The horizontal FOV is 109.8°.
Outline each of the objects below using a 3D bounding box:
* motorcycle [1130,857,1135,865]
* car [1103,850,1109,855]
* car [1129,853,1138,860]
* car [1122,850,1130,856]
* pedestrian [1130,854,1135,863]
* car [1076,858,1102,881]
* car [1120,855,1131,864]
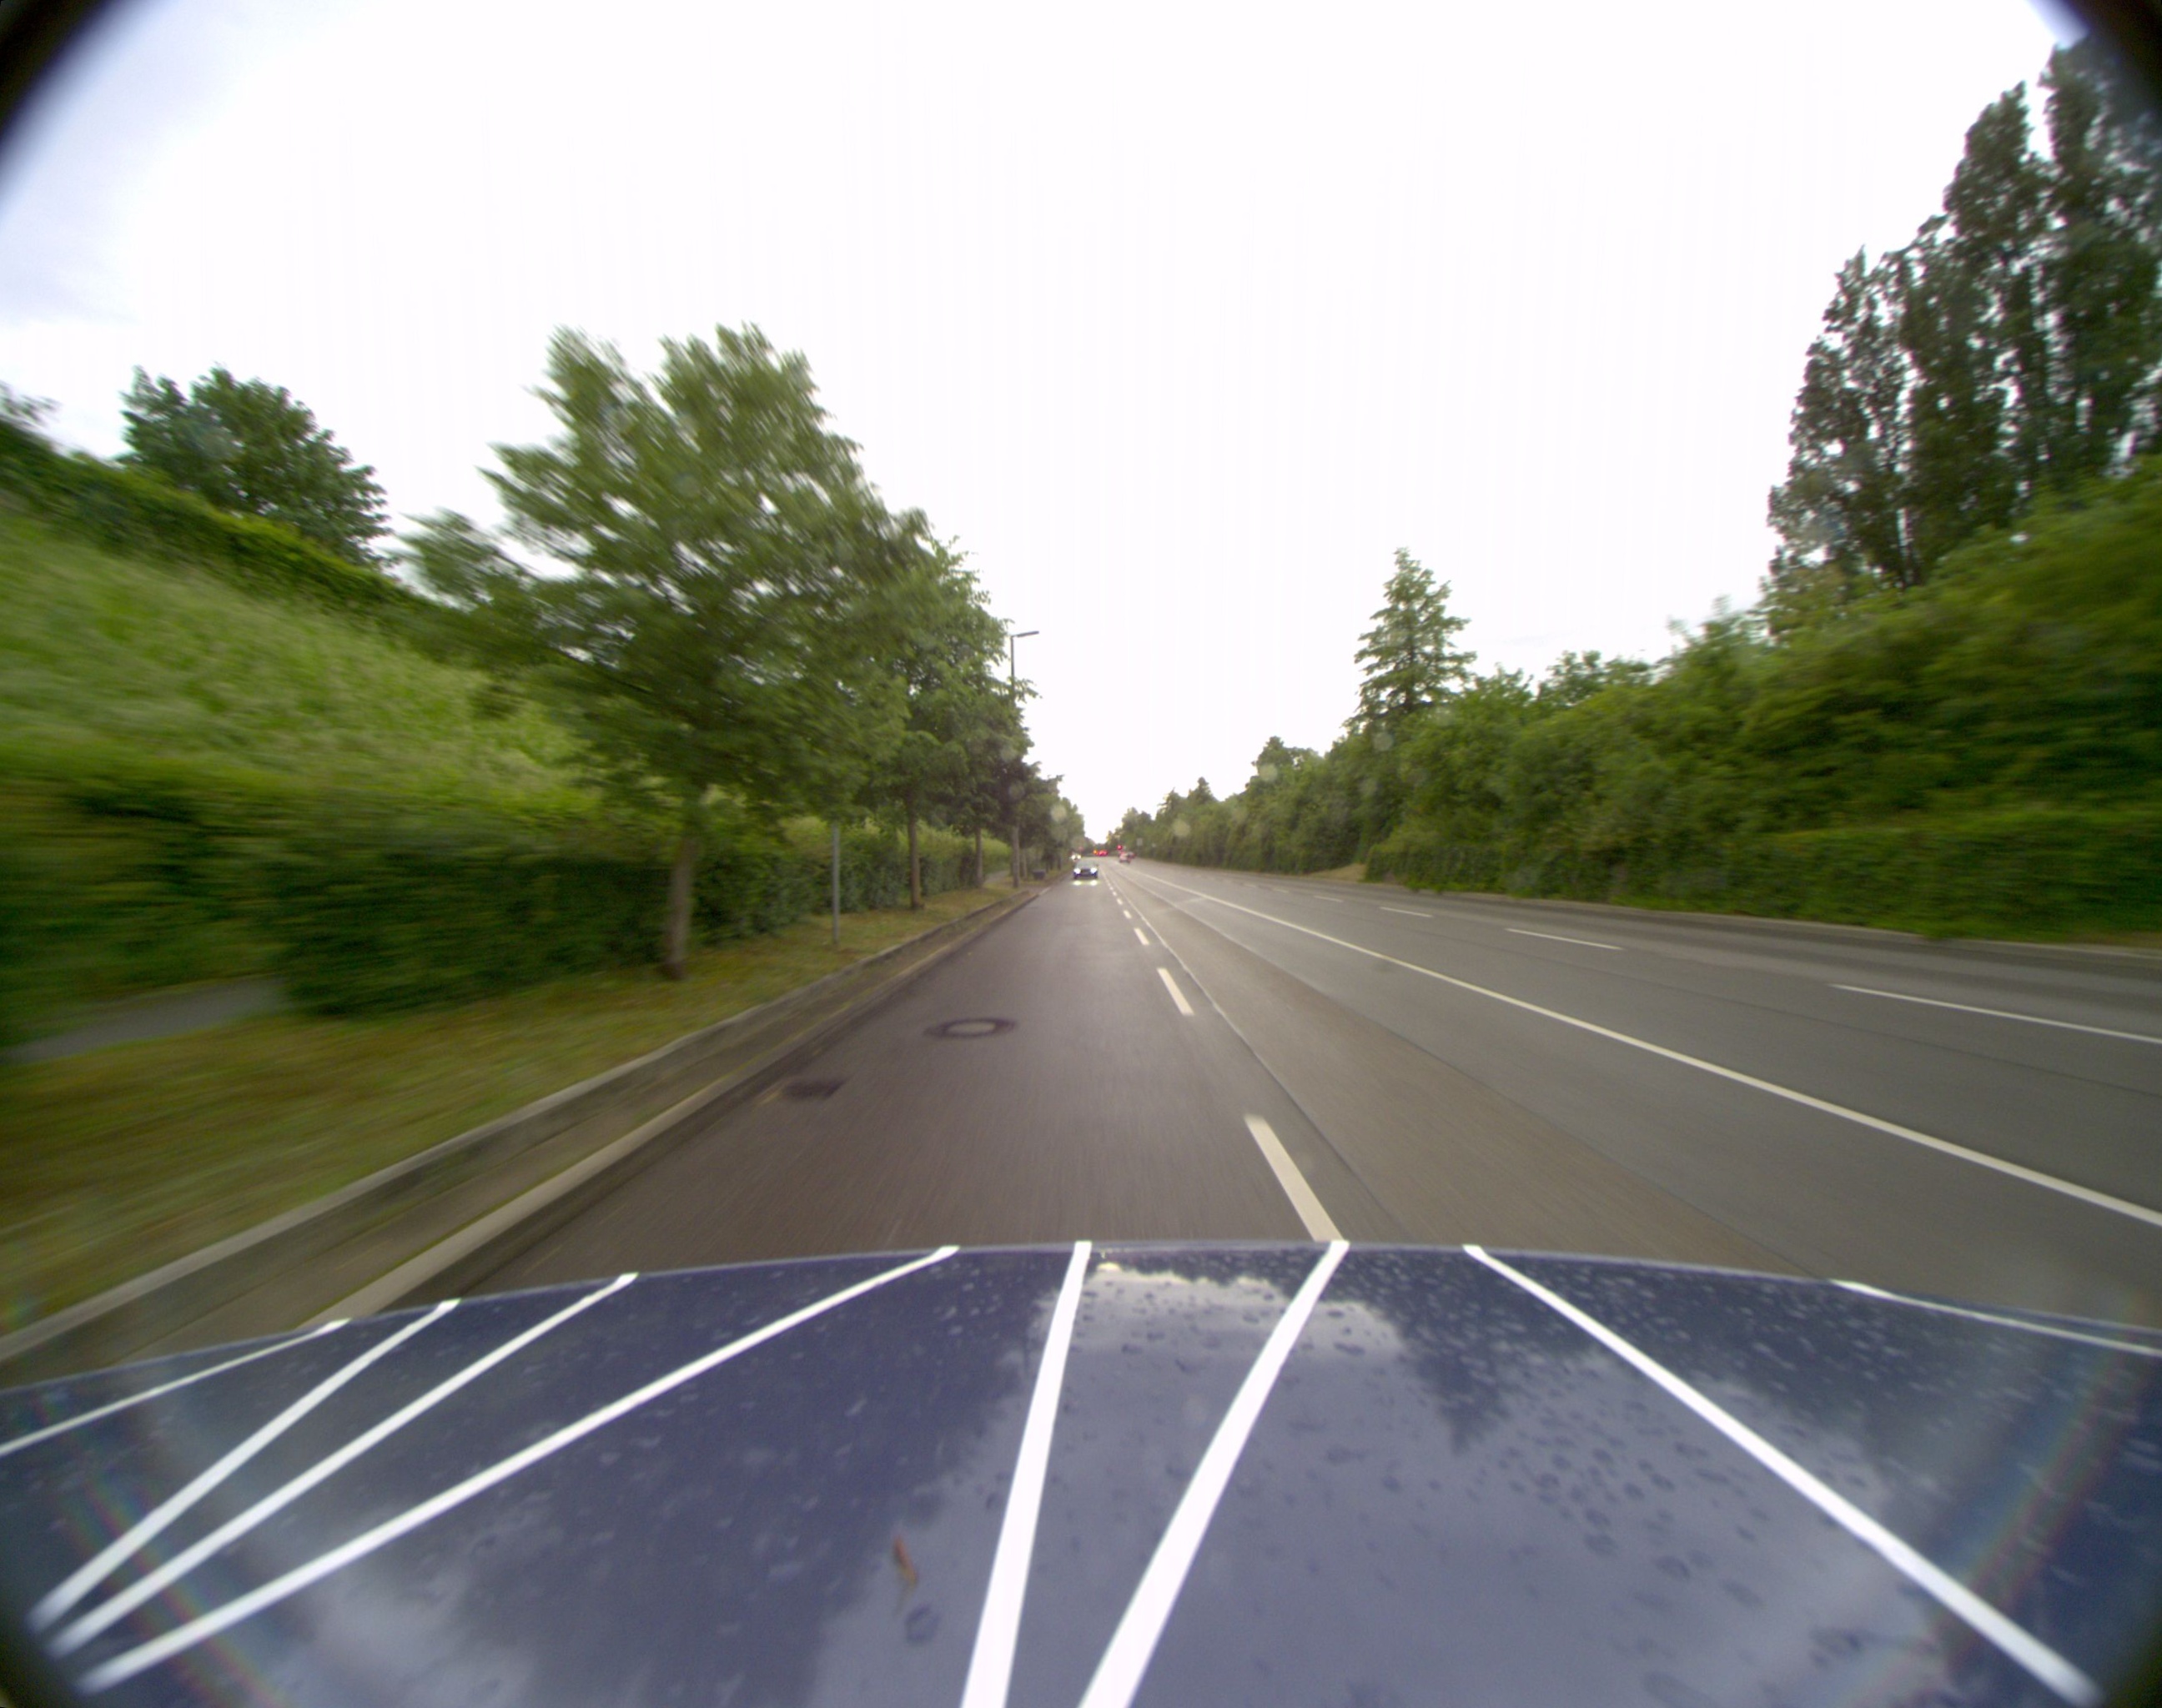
[{"bbox_3d":[8.406,1.140,124.170,0.807,1.124,2.231,-2,0,1],"label":"motorcycle"},{"bbox_3d":[7.655,-0.440,232.327,1.817,1.648,4.595,-2,0,1],"label":"car"},{"bbox_3d":[11.971,0.565,172.573,1.764,1.373,4.838,-2,0,1],"label":"car"},{"bbox_3d":[11.768,-0.324,198.083,1.903,1.544,4.630,-2,0,1],"label":"car"},{"bbox_3d":[8.395,0.761,124.146,0.807,1.532,1.111,-2,1,1],"label":"pedestrian"},{"bbox_3d":[0.564,1.155,57.532,1.738,1.577,4.285,-1,0,-2],"label":"car"},{"bbox_3d":[8.079,1.009,138.488,1.719,1.496,4.517,-2,0,1],"label":"car"}]
